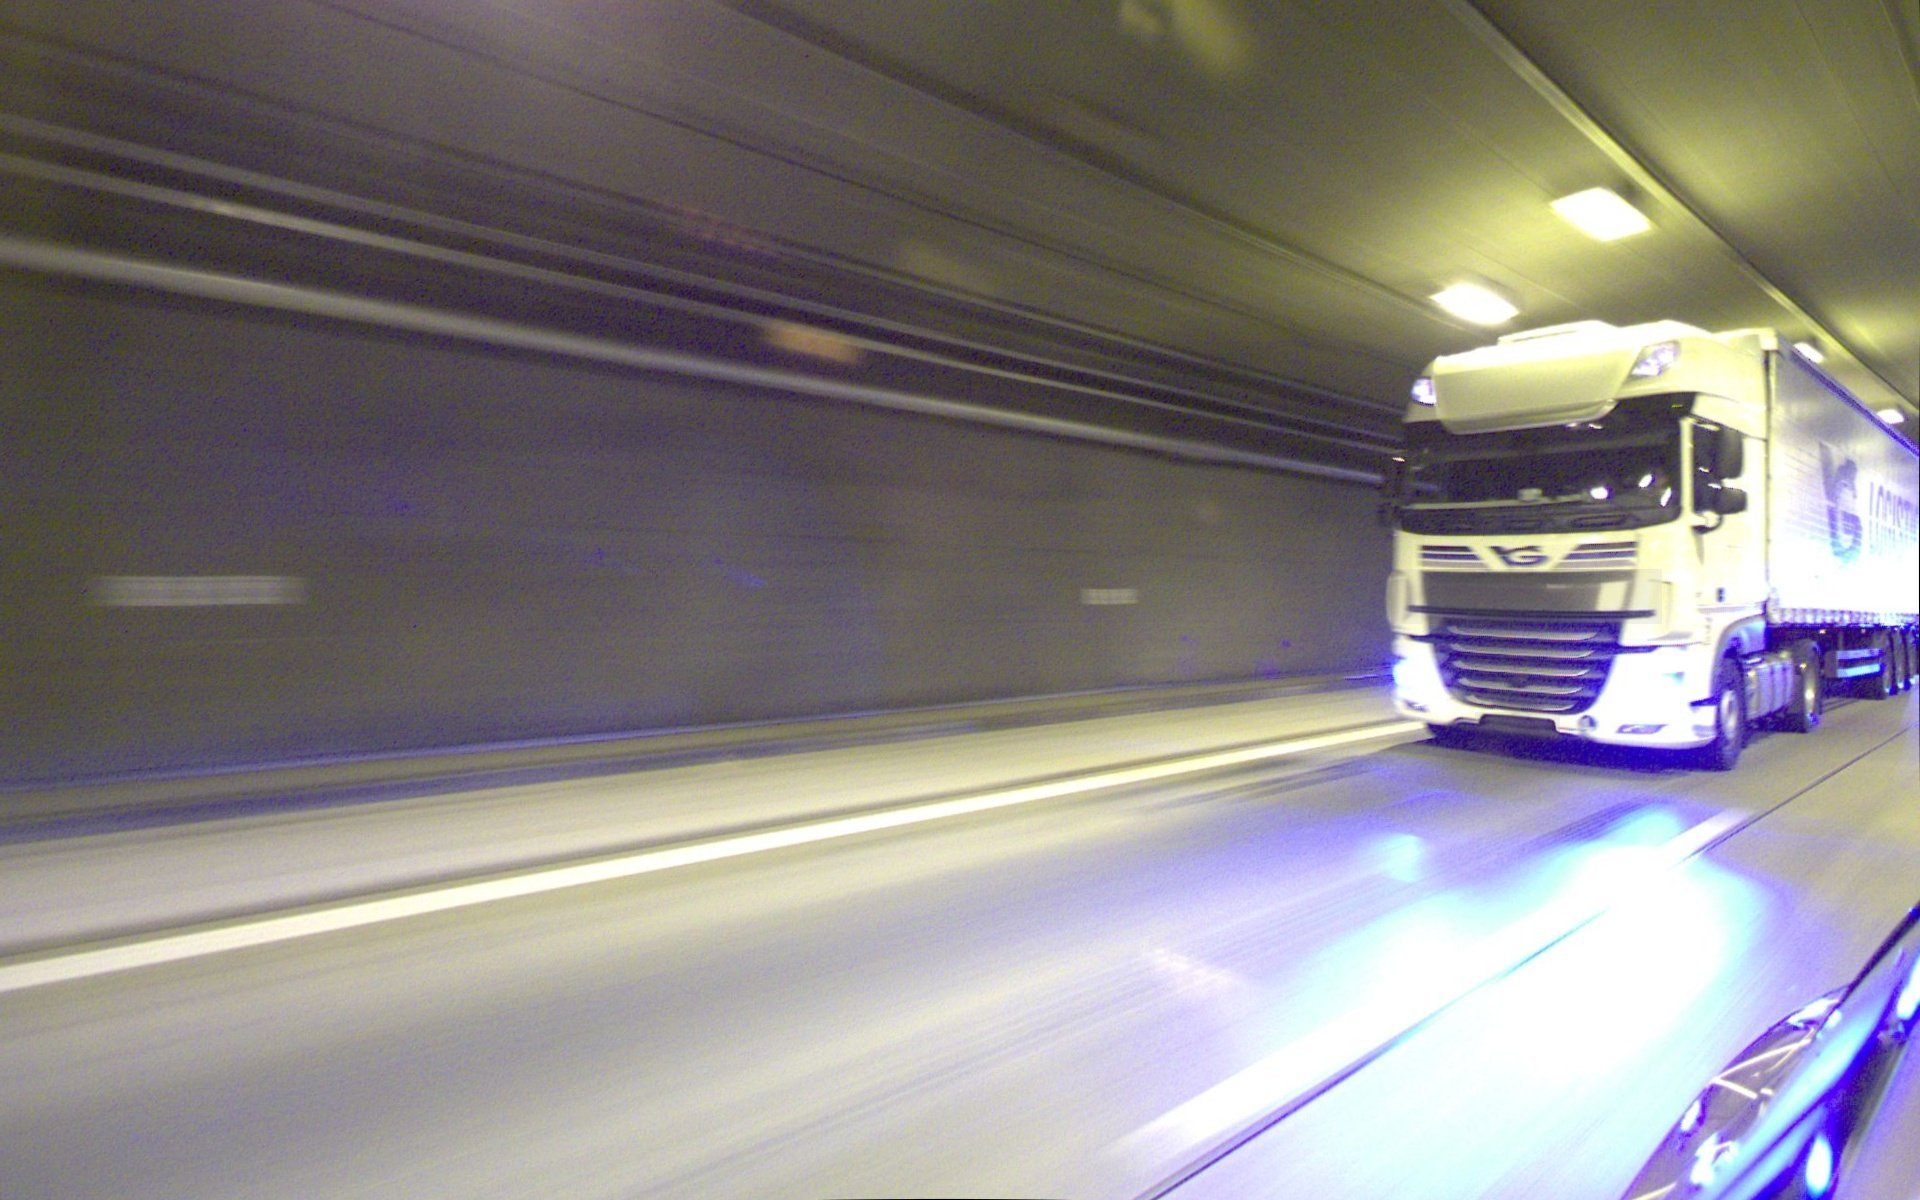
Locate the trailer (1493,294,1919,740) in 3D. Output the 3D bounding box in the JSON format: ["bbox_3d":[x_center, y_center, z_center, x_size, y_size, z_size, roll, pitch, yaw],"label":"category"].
[{"bbox_3d":[12.246,-0.811,14.985,13.752,4.216,2.625,0,-1,-40],"label":"trailer"}]

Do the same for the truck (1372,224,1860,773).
[{"bbox_3d":[7.116,-0.800,10.667,5.897,4.216,2.652,0,0,-39],"label":"truck"}]
